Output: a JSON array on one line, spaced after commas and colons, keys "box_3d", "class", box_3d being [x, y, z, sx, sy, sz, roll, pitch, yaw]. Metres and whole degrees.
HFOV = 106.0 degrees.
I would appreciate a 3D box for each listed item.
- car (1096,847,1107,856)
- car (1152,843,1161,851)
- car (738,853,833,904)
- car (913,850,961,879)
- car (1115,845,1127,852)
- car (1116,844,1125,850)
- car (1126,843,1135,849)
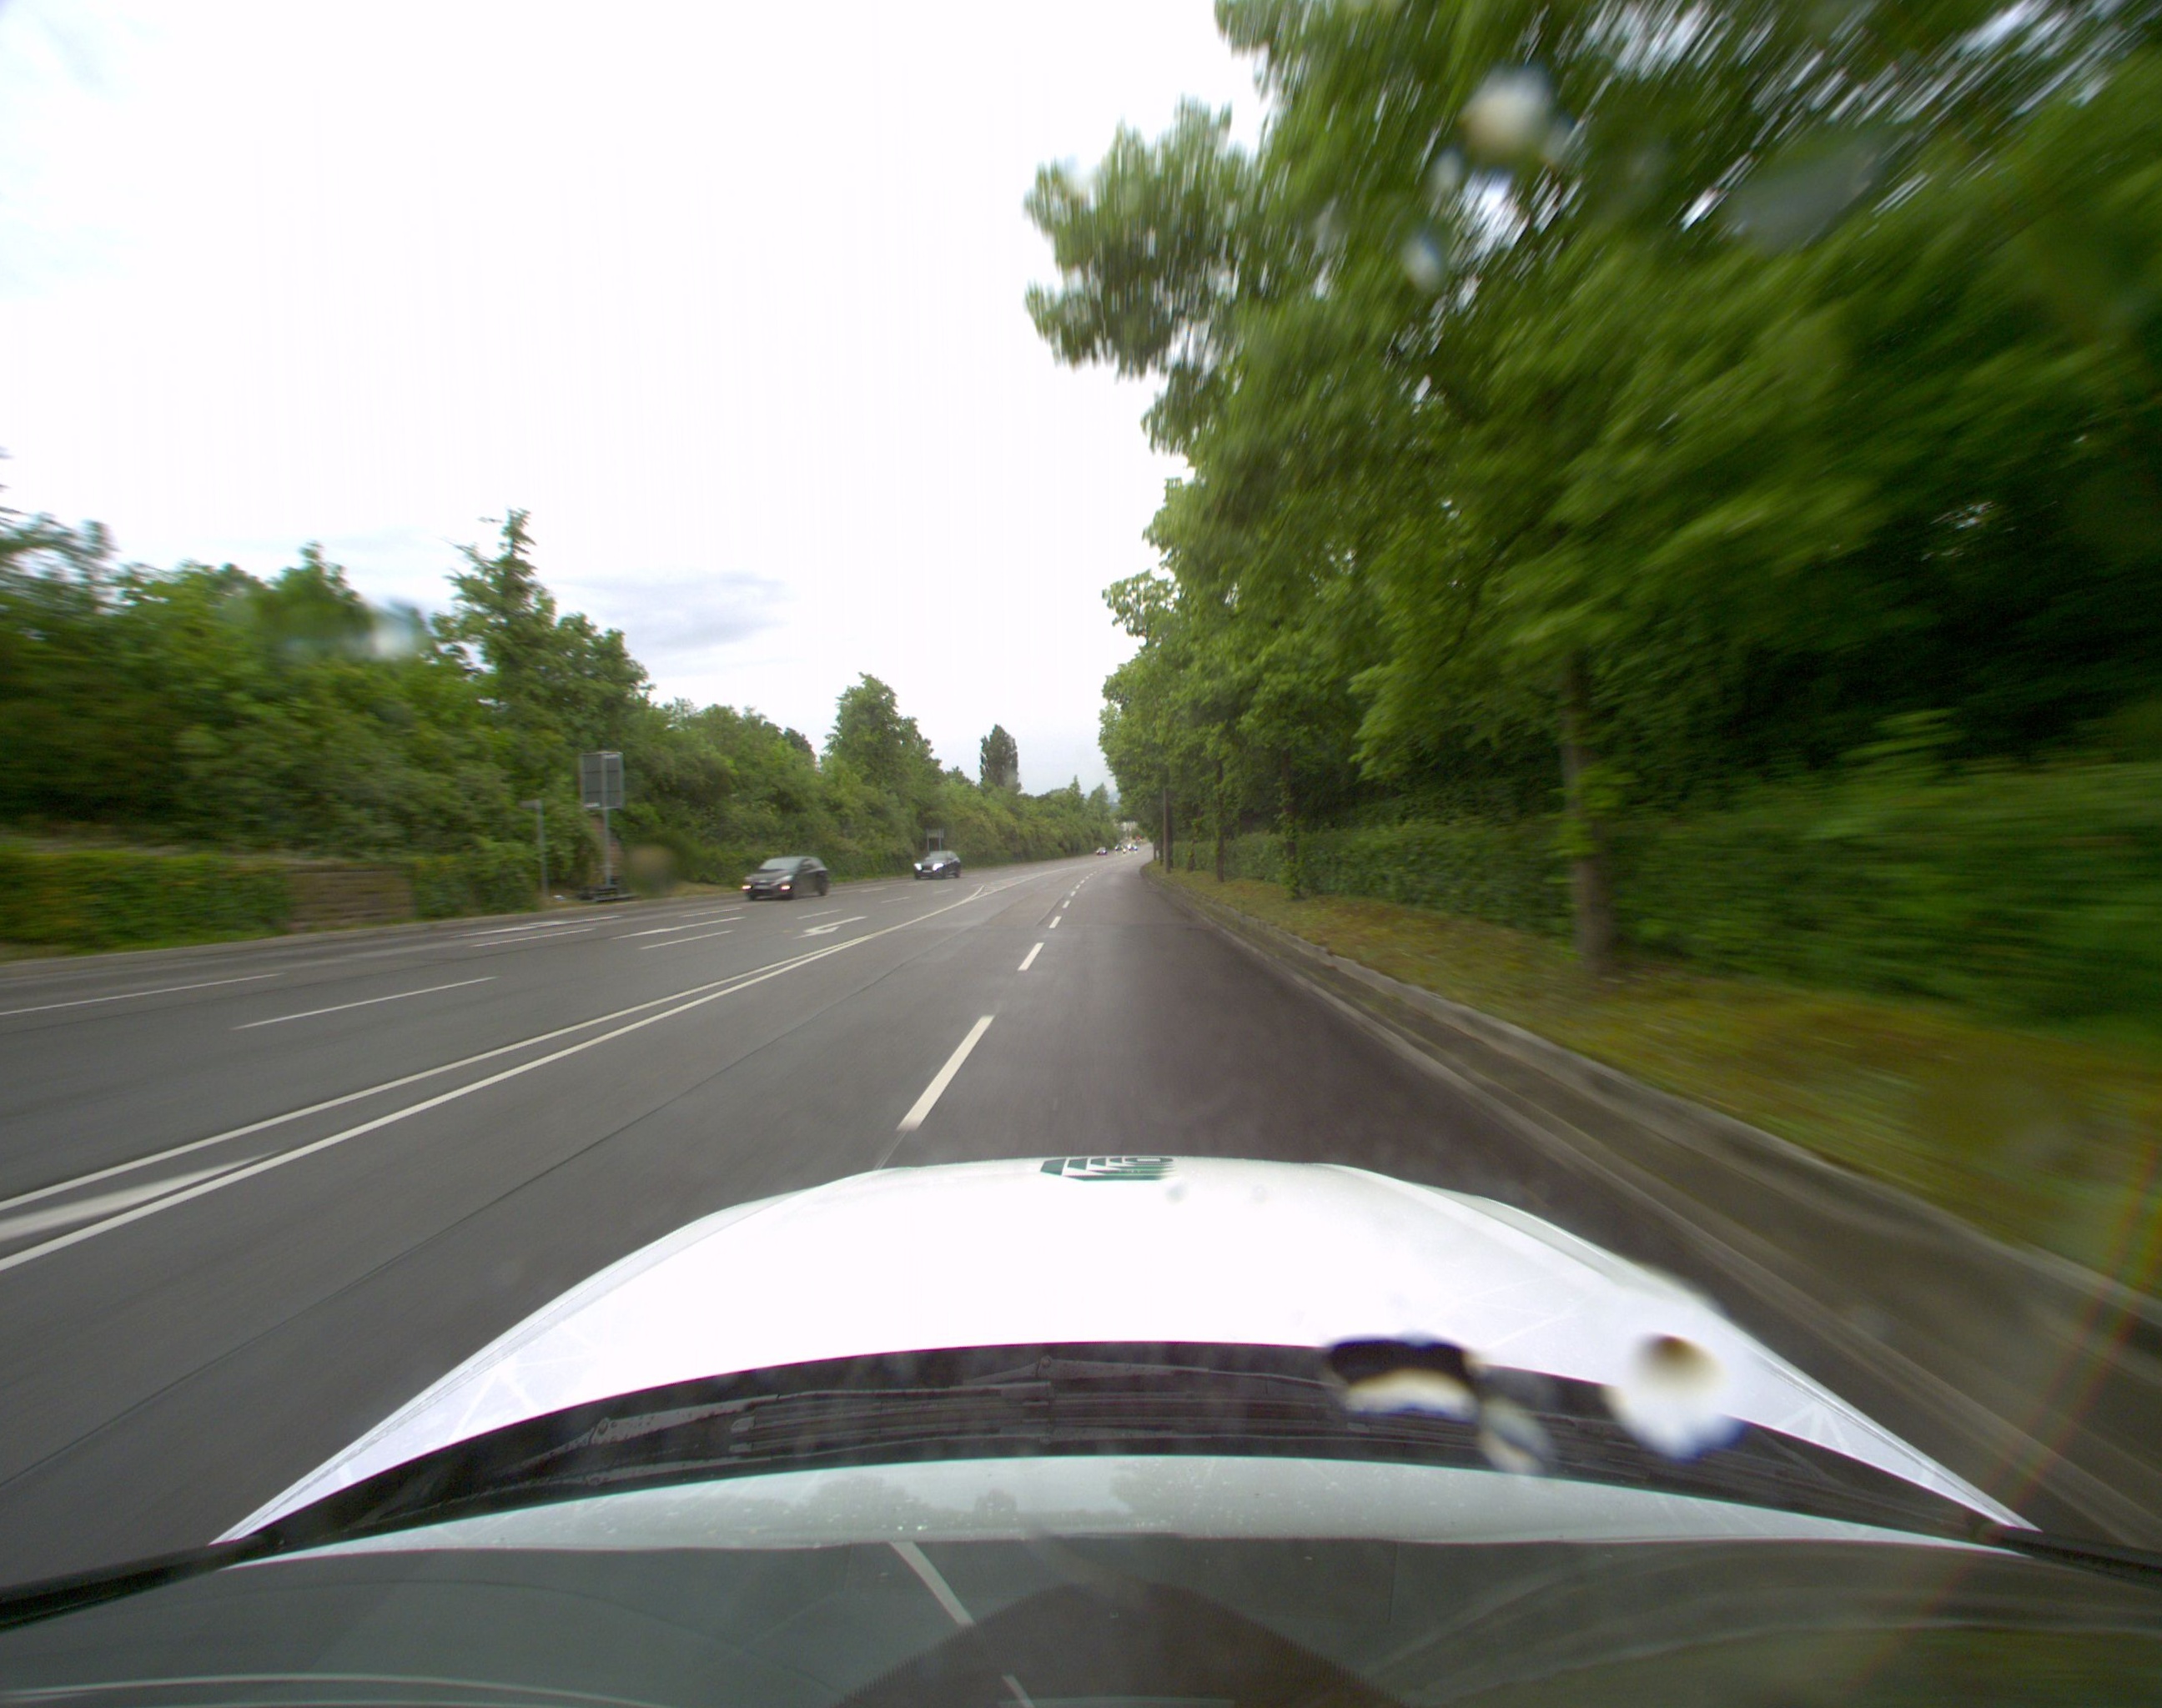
[{"box_3d": [3.771, -0.477, 148.307, 1.856, 1.464, 3.897, 0, 0, 4], "class": "car"}, {"box_3d": [17.918, -1.713, 193.770, 1.934, 1.590, 3.937, -2, 2, 8], "class": "car"}, {"box_3d": [-10.119, 0.793, 28.182, 1.718, 1.565, 3.895, 0, 1, 2], "class": "car"}, {"box_3d": [-8.371, 0.579, 47.649, 1.856, 1.589, 3.897, 0, 0, 4], "class": "car"}, {"box_3d": [8.024, -1.106, 163.212, 1.854, 1.464, 3.902, 0, 0, 8], "class": "car"}, {"box_3d": [9.500, -1.793, 197.230, 1.854, 1.464, 3.901, 0, 0, 7], "class": "car"}, {"box_3d": [11.924, -1.862, 197.301, 1.854, 1.464, 3.901, 0, 0, 7], "class": "car"}]
